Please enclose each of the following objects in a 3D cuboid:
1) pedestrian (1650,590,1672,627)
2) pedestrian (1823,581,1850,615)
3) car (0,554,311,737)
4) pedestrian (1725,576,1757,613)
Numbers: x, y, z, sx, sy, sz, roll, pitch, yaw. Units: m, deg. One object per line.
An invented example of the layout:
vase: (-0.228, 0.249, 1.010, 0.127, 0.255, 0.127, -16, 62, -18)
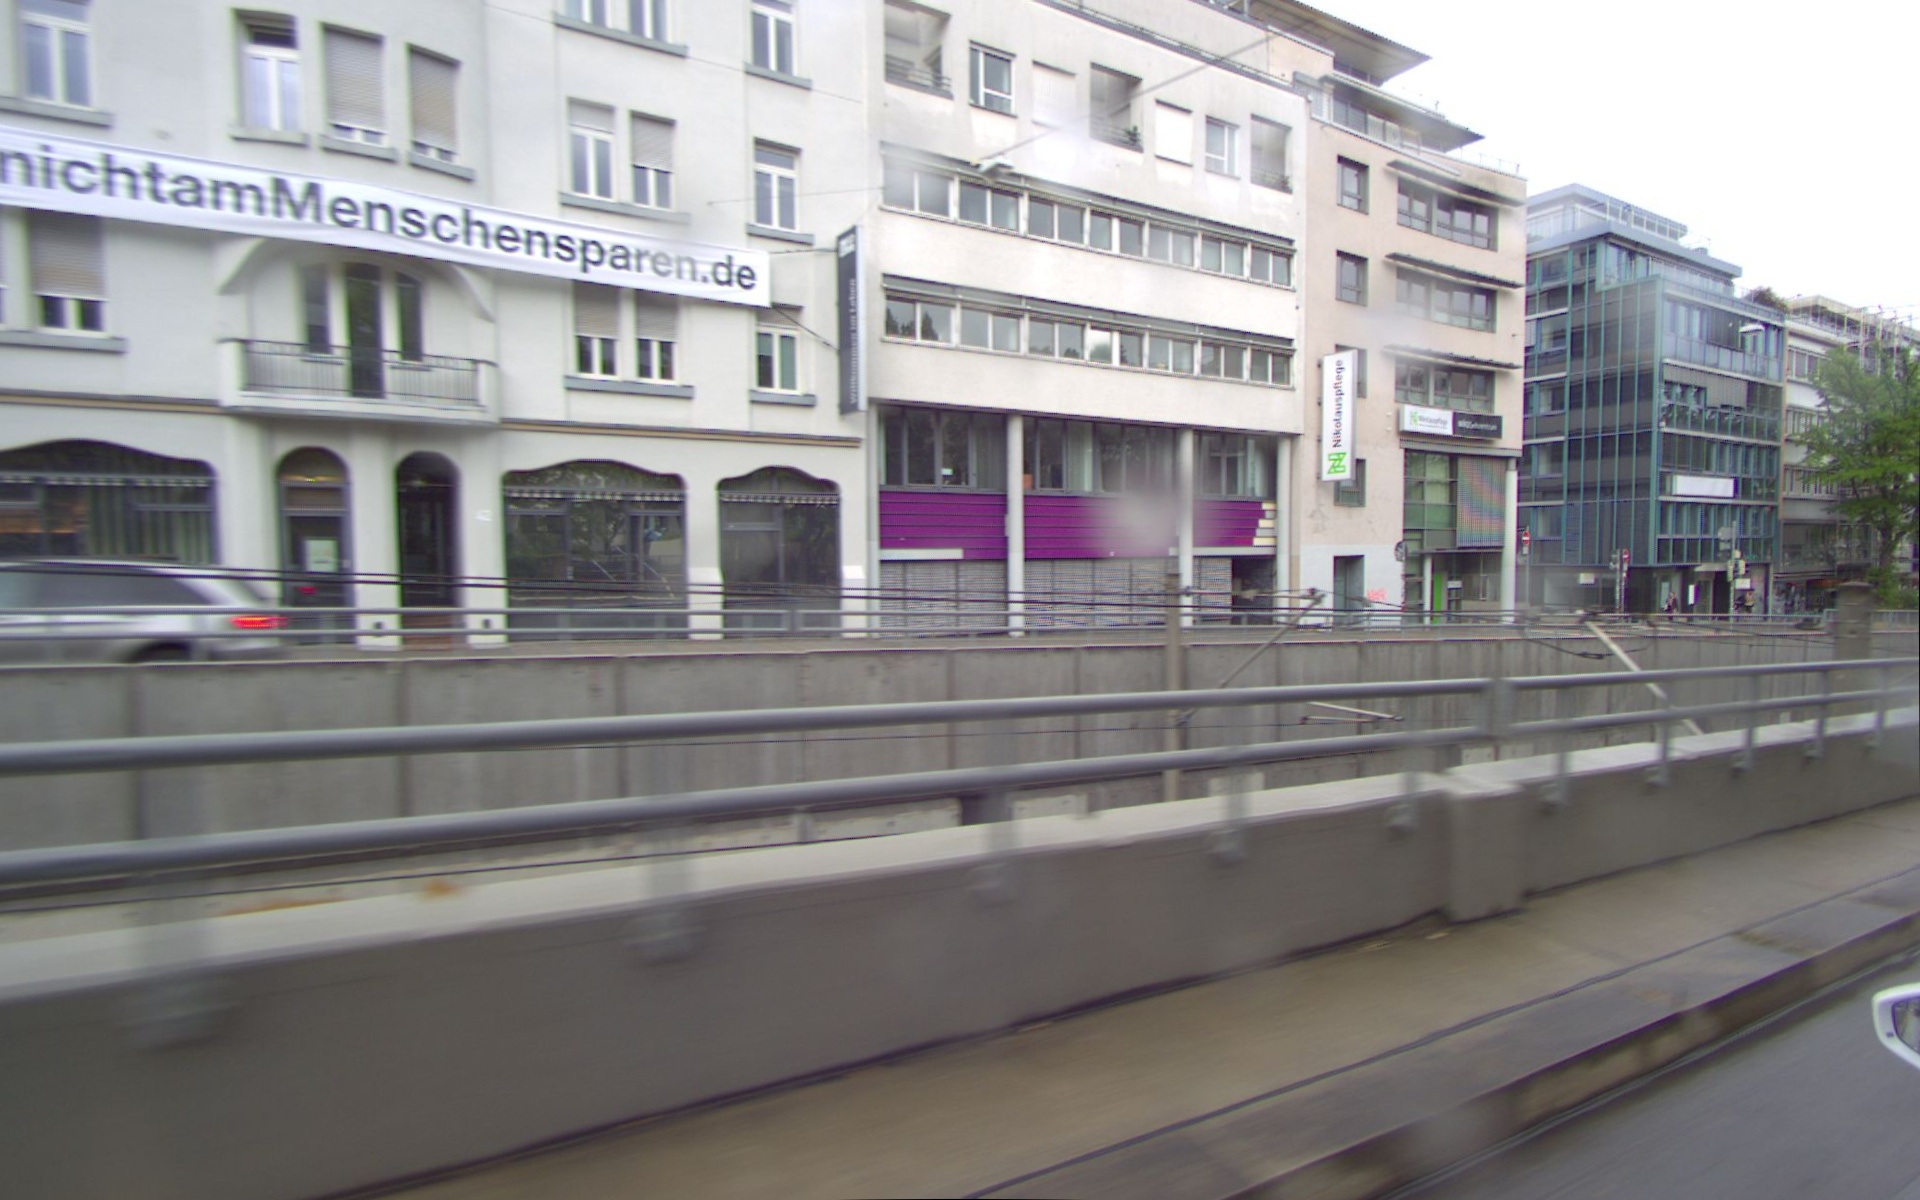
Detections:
pedestrian: (32.824, 0.401, 47.051, 0.482, 1.694, 0.660, 0, 2, -32)
pedestrian: (49.742, -0.122, 56.985, 0.857, 1.894, 0.871, 0, 3, -33)
car: (-9.445, 0.410, 10.324, 4.522, 1.736, 1.828, 0, 2, -30)
pedestrian: (41.017, -0.282, 52.757, 0.943, 1.893, 0.864, 1, 2, -13)
